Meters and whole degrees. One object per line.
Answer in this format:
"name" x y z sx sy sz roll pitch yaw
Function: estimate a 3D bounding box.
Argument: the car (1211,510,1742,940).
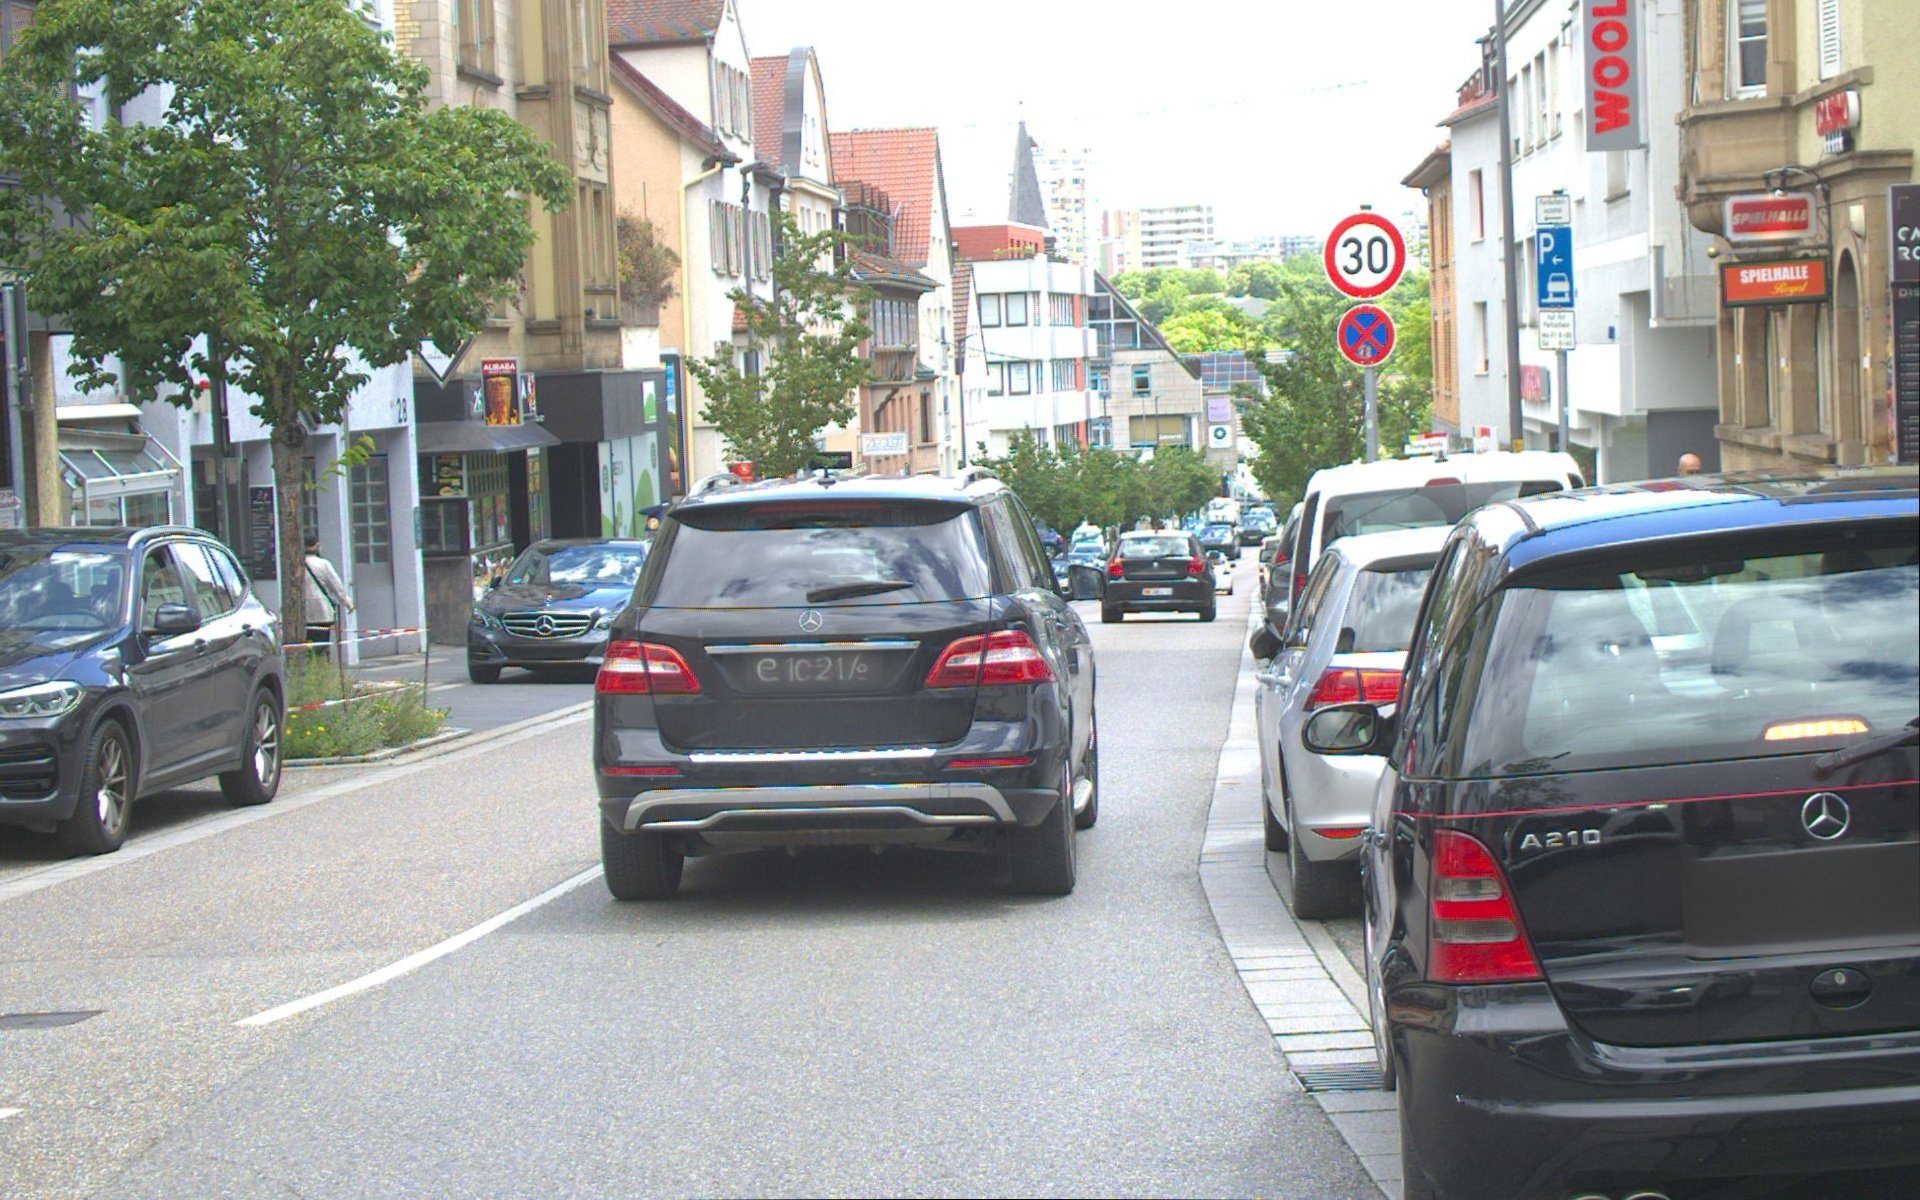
"car" 1.982 0.402 14.235 1.703 1.462 4.000 -3 1 3

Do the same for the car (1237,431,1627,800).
"car" 2.686 0.020 19.455 1.877 1.793 4.731 -2 1 8

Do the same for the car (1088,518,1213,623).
"car" 2.990 -0.485 53.408 1.786 1.535 3.744 -1 1 5

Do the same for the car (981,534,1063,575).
"car" 3.130 -2.278 172.751 3.987 1.744 2.000 -4 0 2

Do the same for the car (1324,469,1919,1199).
"car" 1.814 0.496 8.095 1.803 1.550 3.953 -2 1 6

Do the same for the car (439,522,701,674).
"car" -4.055 -0.072 36.502 1.927 1.487 4.842 0 1 4

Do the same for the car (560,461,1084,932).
"car" -0.463 0.330 15.179 1.943 1.734 4.179 -2 1 2

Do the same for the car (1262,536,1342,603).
"car" 8.477 -0.770 85.494 1.748 1.460 4.074 -5 1 4

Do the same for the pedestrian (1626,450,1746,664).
"pedestrian" 6.046 -0.364 28.673 0.796 1.721 1.053 -2 1 5

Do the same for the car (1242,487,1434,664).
"car" 3.827 -0.281 34.982 1.748 1.602 3.799 -3 1 6

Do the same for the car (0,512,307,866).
"car" -5.257 0.383 19.181 2.007 1.688 4.607 0 2 5

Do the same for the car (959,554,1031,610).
"car" 1.010 -0.538 97.513 1.926 1.491 4.262 0 1 2

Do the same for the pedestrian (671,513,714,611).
"pedestrian" -4.003 -0.569 51.450 0.491 1.458 0.559 1 1 14

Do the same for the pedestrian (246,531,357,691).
"pedestrian" -6.115 0.093 31.944 0.826 1.458 0.810 0 1 4

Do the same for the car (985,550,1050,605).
"car" 1.772 -0.708 104.861 1.926 1.590 4.458 0 1 2

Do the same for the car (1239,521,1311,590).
"car" 9.383 -1.342 102.643 1.938 1.885 4.706 -4 1 4
